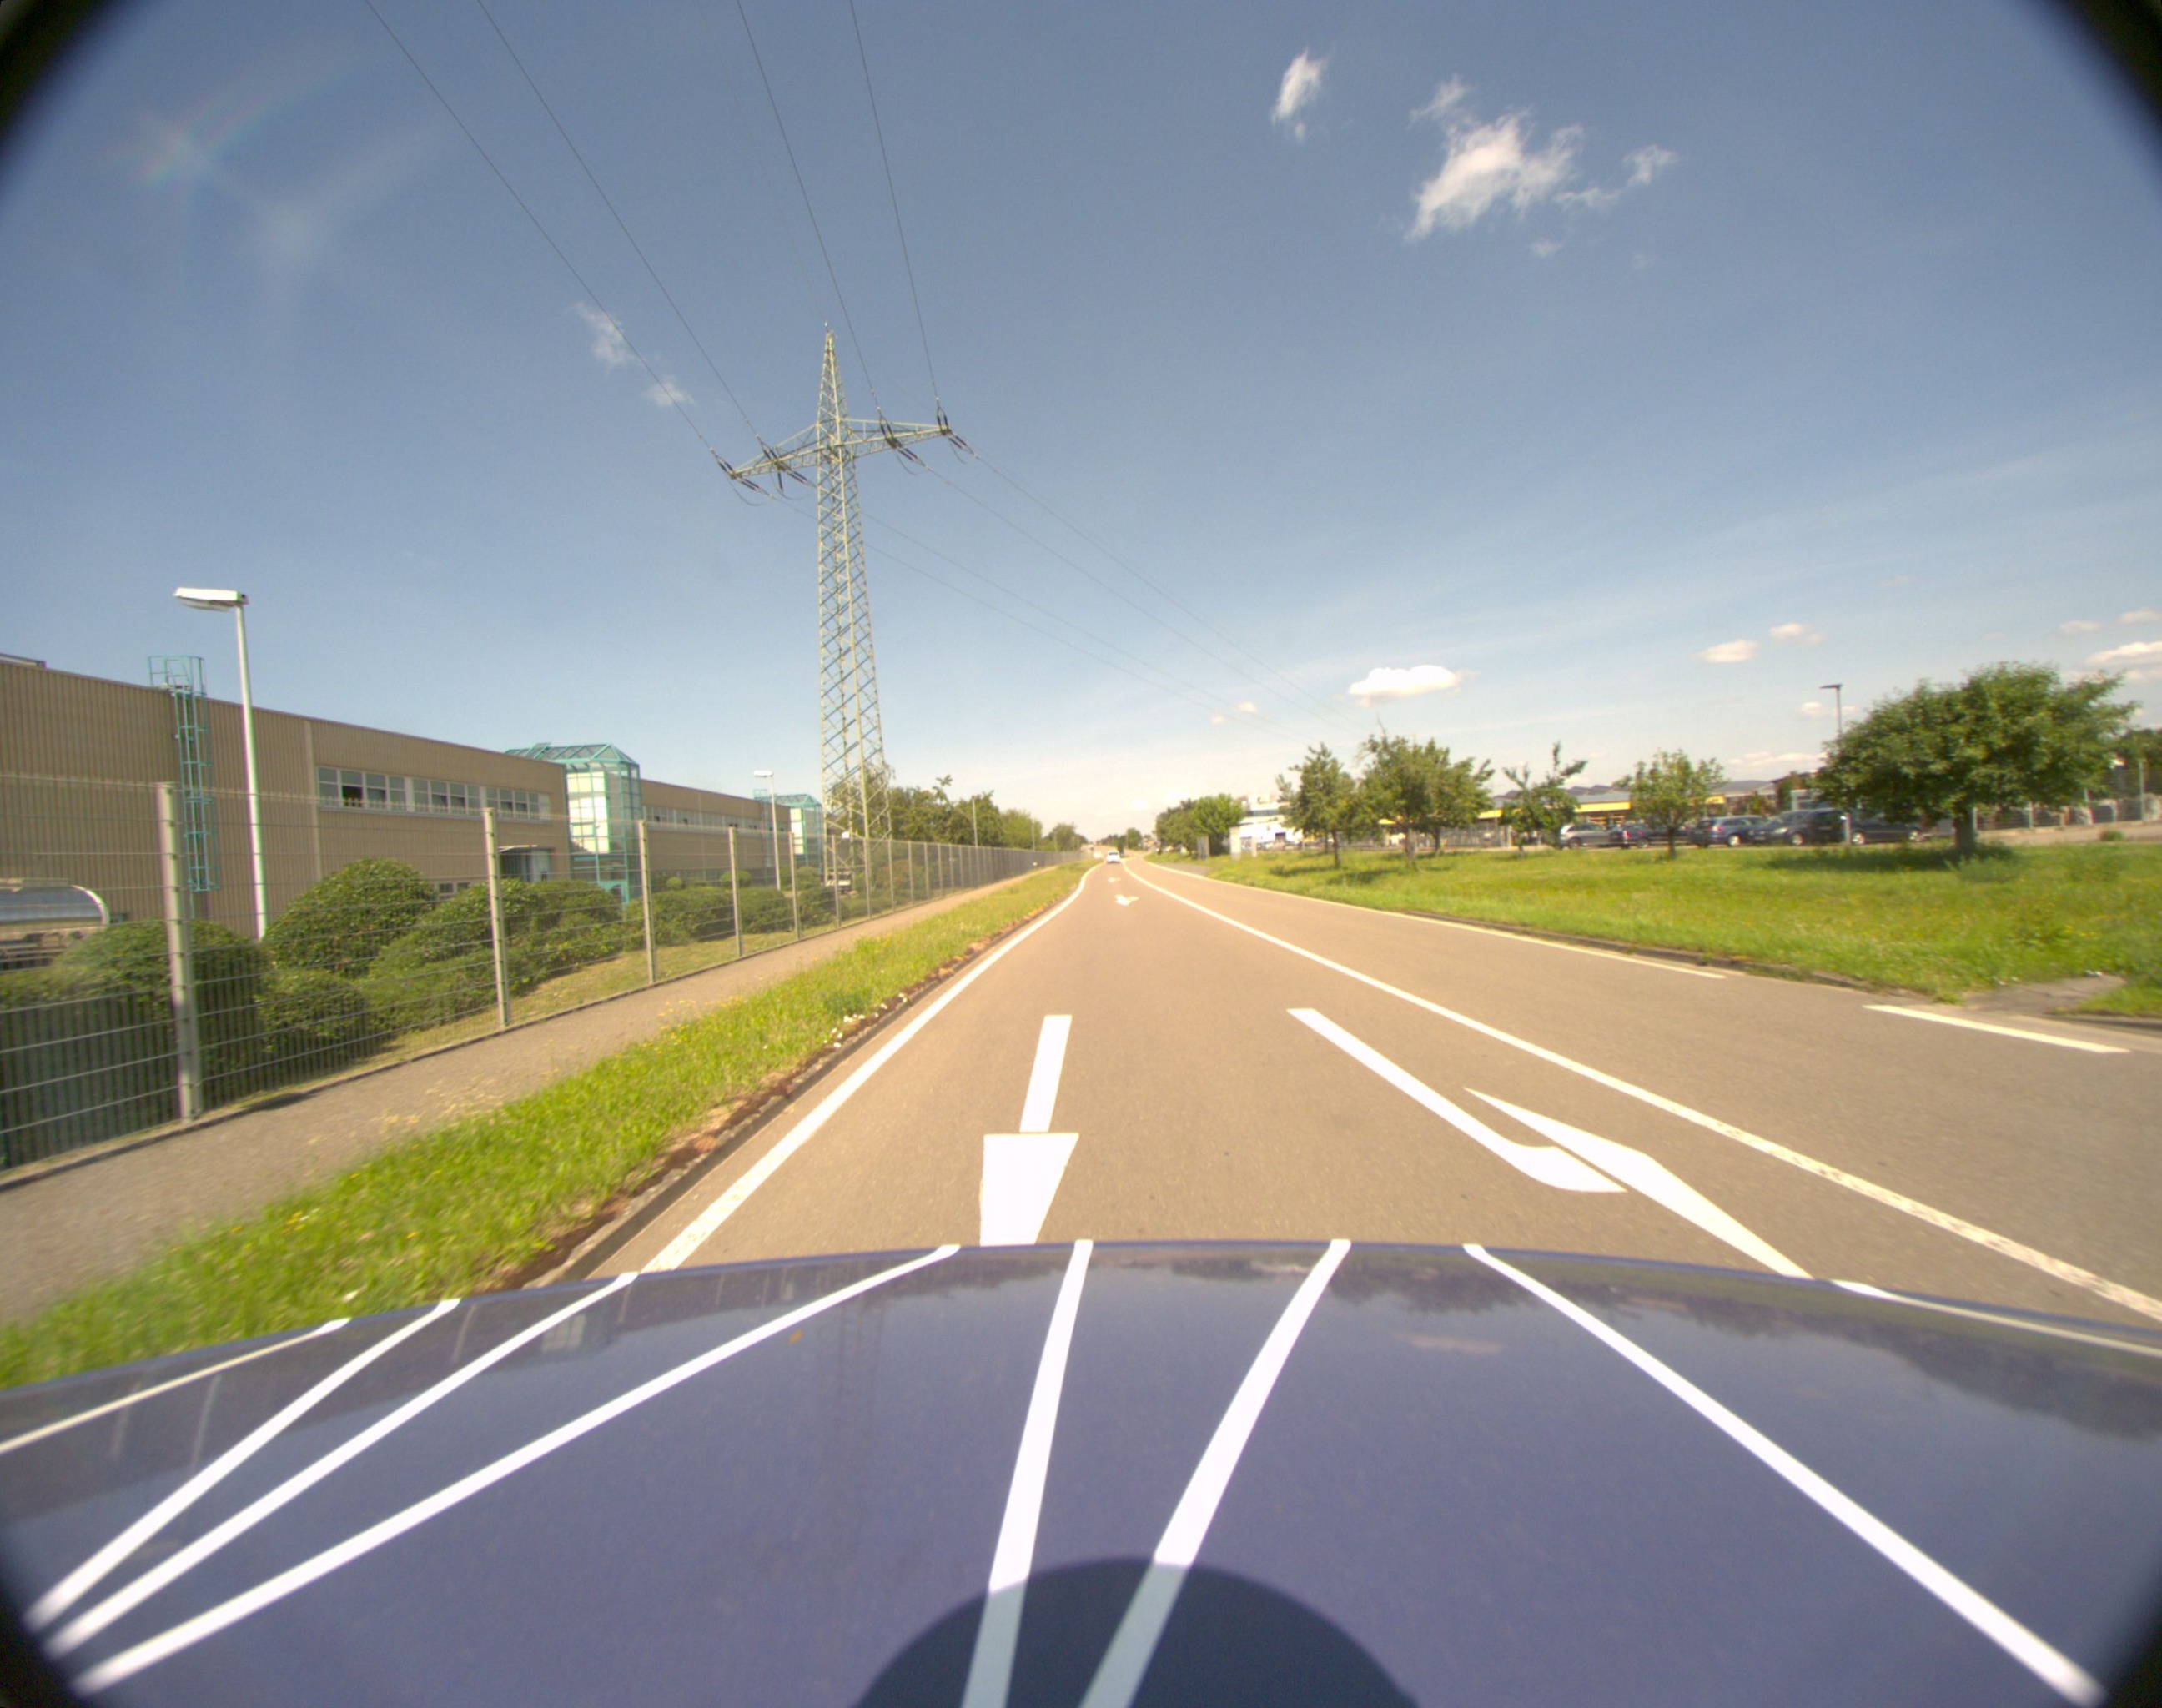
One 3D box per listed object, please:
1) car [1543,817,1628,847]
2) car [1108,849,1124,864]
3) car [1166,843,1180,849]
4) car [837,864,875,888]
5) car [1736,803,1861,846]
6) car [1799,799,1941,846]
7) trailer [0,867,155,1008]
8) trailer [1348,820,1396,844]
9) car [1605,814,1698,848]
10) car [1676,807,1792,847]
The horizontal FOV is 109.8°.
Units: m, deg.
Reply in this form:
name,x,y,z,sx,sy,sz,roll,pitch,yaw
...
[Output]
name,x,y,z,sx,sy,sz,roll,pitch,yaw
car,31.754,-1.372,47.870,3.998,1.519,1.999,-5,1,-3
car,5.050,0.305,110.132,1.998,1.904,4.001,-3,1,5
car,26.805,-2.254,220.900,3.995,1.510,2.000,-3,1,5
car,-19.892,1.924,67.406,2.115,1.769,5.652,-4,0,-5
car,32.675,-1.330,34.666,3.998,1.630,1.857,-4,1,-3
car,33.309,-1.307,32.157,3.998,1.630,1.999,-4,1,-3
trailer,-30.659,2.340,17.721,3.601,3.713,12.233,-3,0,-4
trailer,40.457,-3.065,105.726,5.578,2.809,2.739,-4,1,-5
car,31.891,-1.273,42.519,3.998,1.546,1.665,-4,1,-3
car,31.851,-1.292,37.143,3.998,1.630,1.999,-4,1,-3
